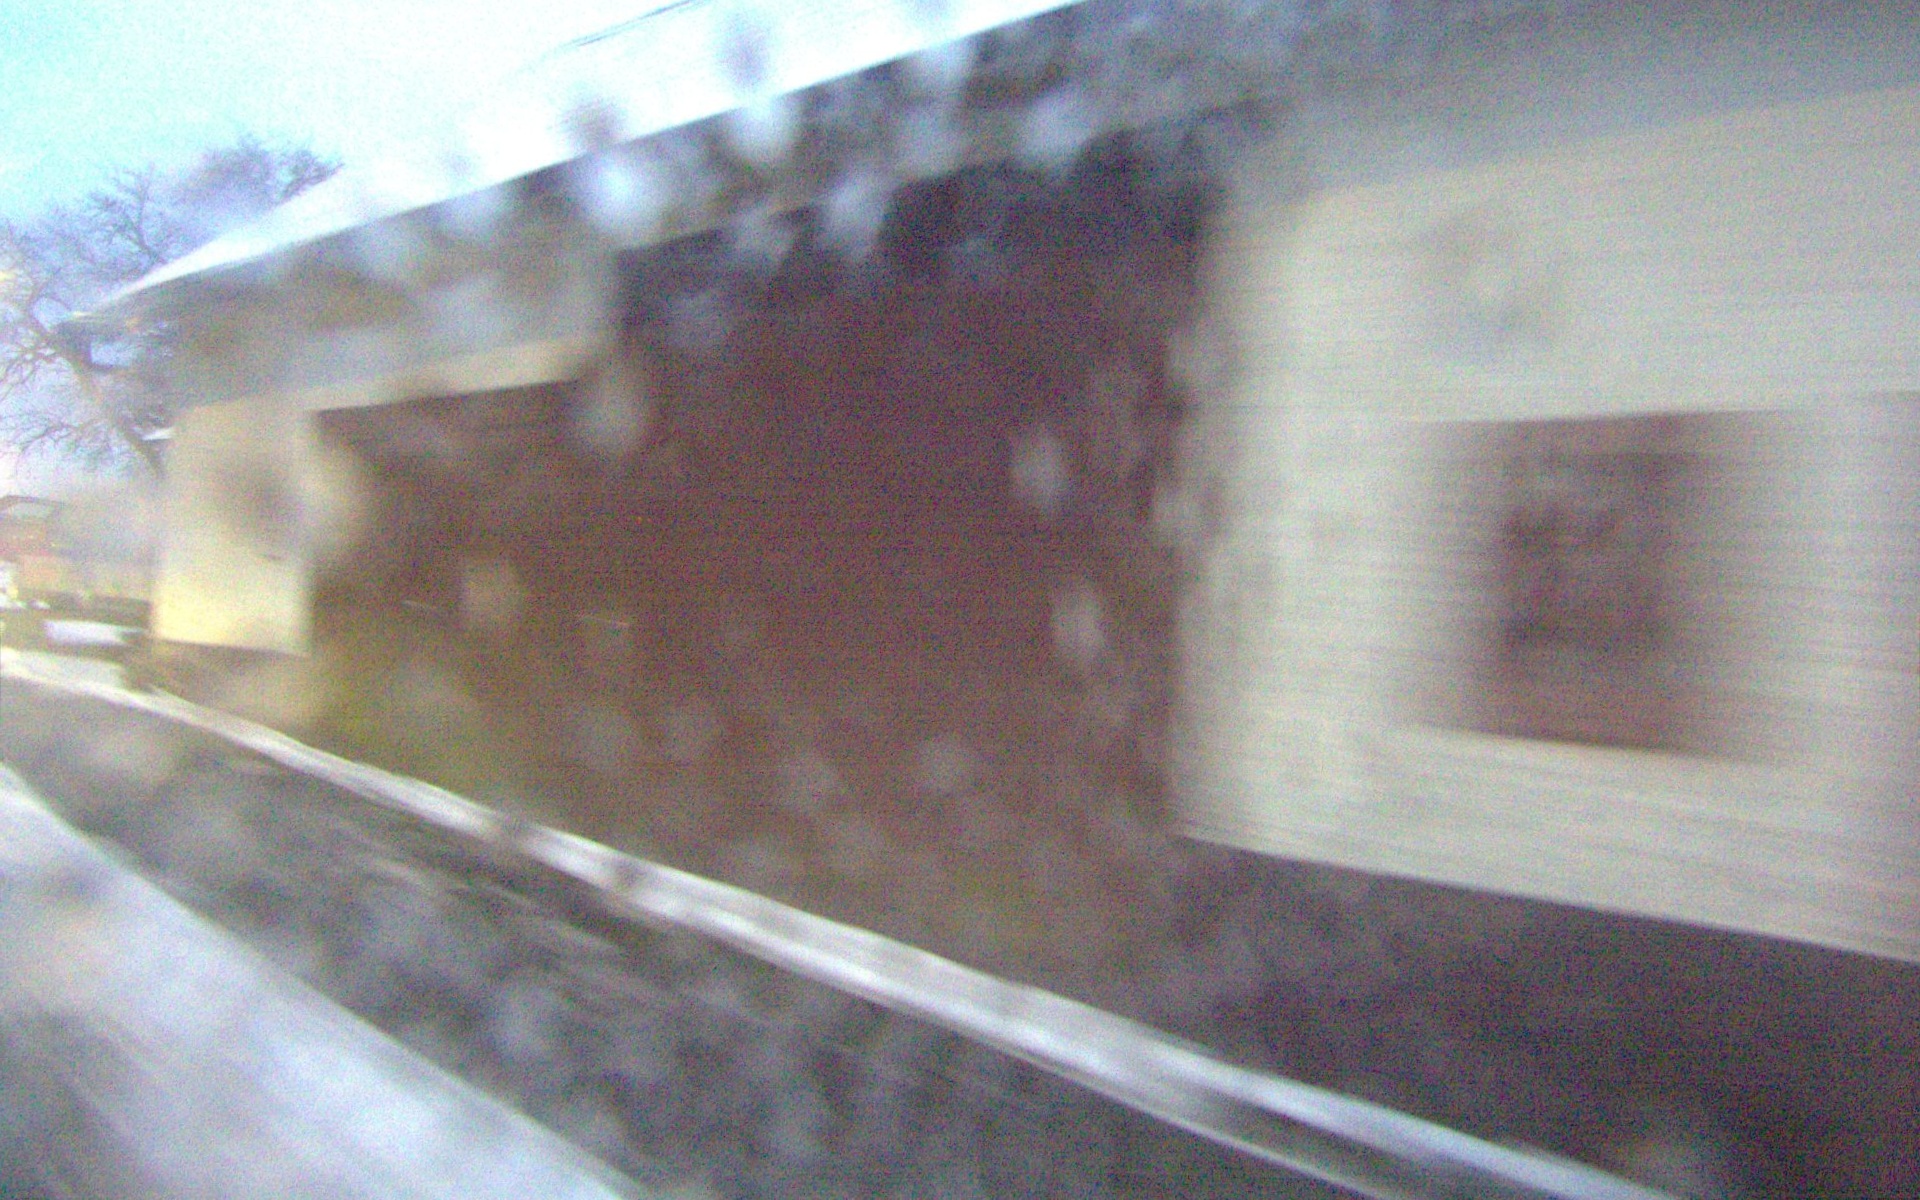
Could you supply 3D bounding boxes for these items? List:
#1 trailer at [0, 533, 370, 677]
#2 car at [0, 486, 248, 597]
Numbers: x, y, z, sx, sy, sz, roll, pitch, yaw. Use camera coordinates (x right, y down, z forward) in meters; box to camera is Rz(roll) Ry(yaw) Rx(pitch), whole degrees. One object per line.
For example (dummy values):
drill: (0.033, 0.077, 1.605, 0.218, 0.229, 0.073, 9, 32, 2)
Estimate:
trailer: (-7.980, -0.008, 9.751, 3.924, 0.958, 1.549, 6, 1, 15)
car: (-17.205, -1.188, 20.125, 2.010, 1.396, 4.447, 6, -5, 45)
